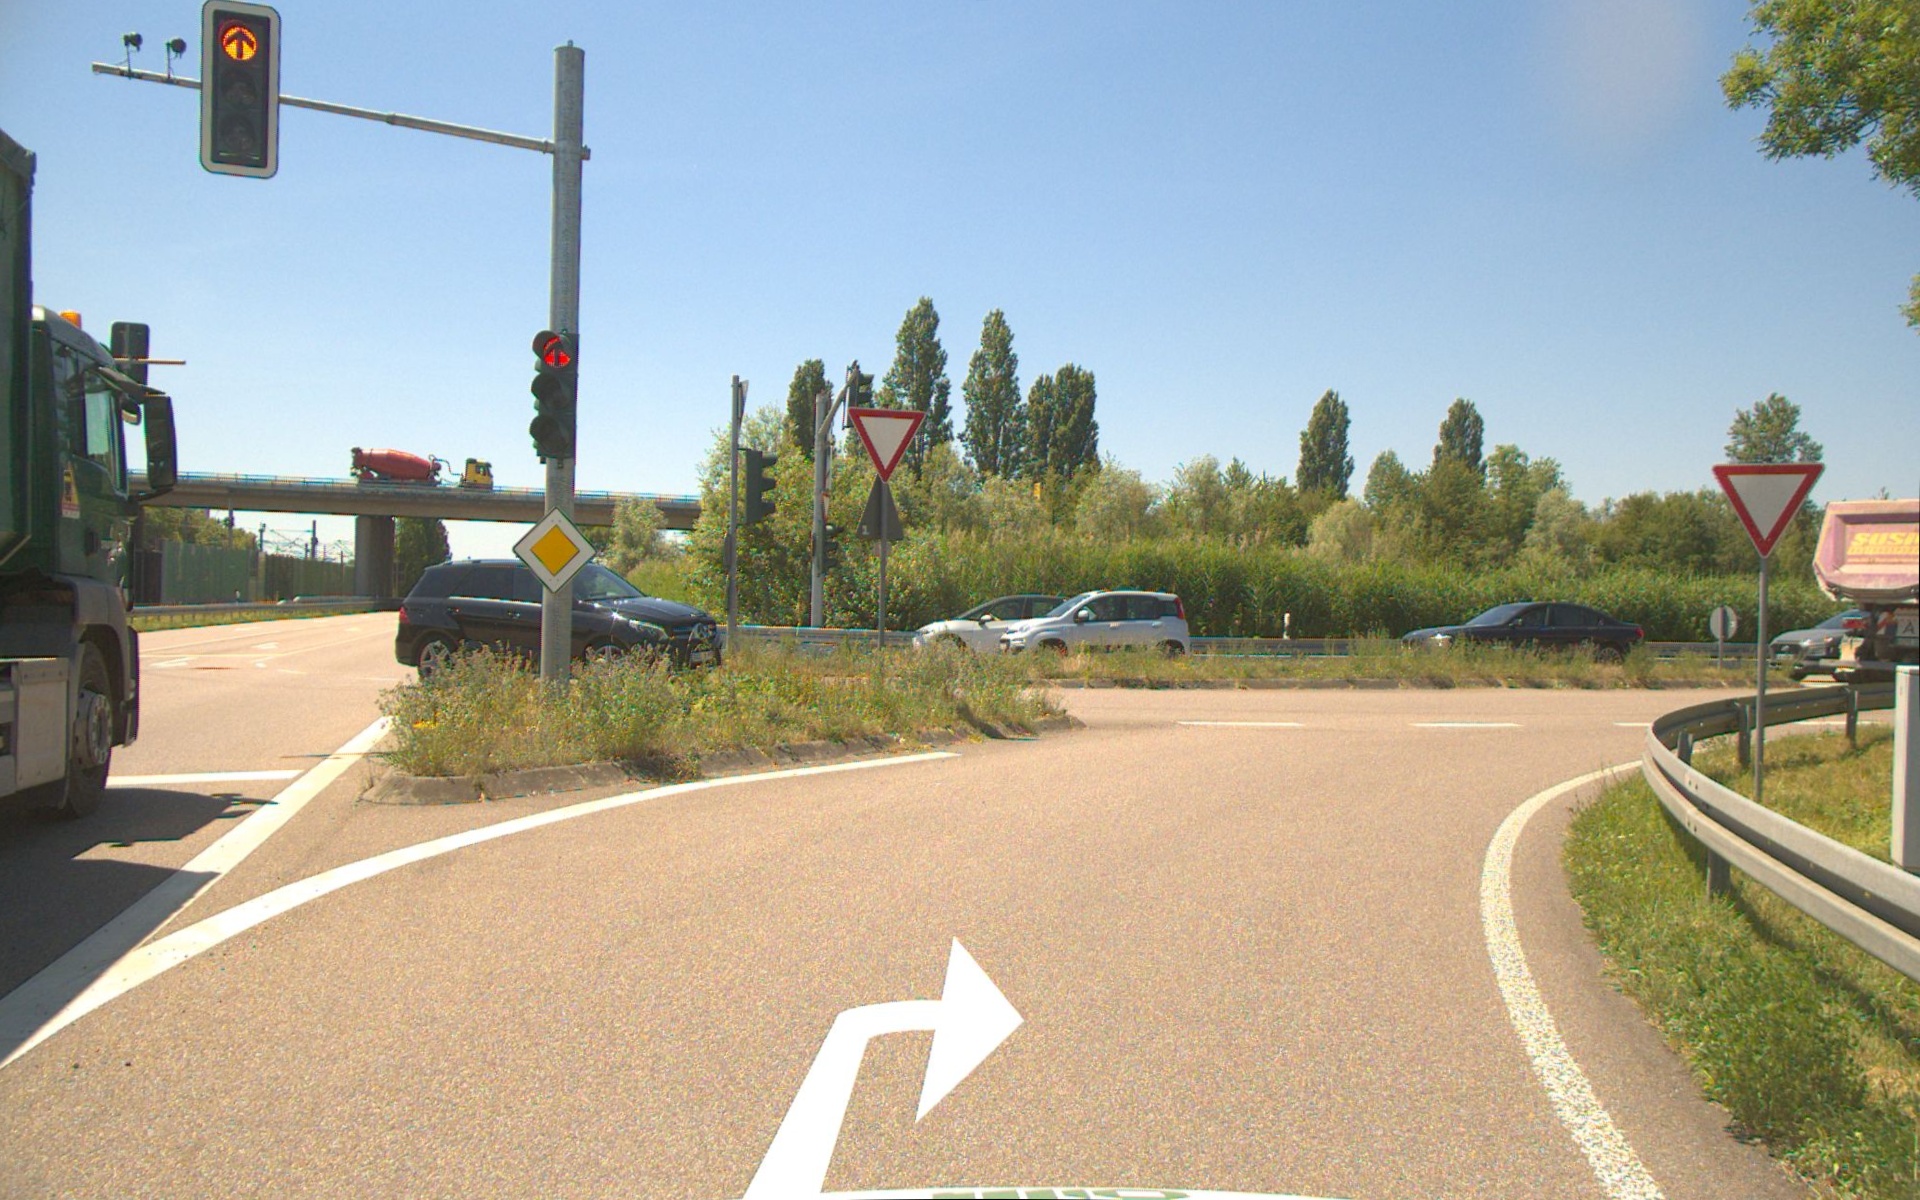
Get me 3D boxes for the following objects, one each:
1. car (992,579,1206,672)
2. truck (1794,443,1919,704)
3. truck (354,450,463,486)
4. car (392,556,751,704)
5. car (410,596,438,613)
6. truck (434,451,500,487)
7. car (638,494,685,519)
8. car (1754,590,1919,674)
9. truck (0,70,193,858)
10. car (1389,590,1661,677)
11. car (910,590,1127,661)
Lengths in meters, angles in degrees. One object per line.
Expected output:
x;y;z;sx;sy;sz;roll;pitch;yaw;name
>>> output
2.570;0.463;30.900;3.643;1.660;1.728;0;0;-13;car
19.267;-0.384;27.678;11.691;3.888;2.821;0;0;-24;truck
-45.474;-10.884;136.636;8.350;2.721;1.993;0;0;-14;truck
-5.316;0.352;22.629;4.490;1.798;1.933;2;1;23;car
-46.090;0.414;142.302;1.960;1.422;4.390;0;0;-14;car
-40.976;-10.867;137.578;4.997;2.721;1.996;0;0;-10;truck
-27.143;-8.491;150.481;4.105;2.049;1.993;0;0;-13;car
18.937;0.638;34.312;4.150;1.660;1.928;0;0;-12;car
-5.666;-0.642;6.721;2.544;3.803;9.546;0;1;-12;truck
11.230;0.634;32.982;4.837;1.660;1.928;0;0;-12;car
1.187;0.521;34.791;4.309;1.422;1.996;0;0;-8;car
